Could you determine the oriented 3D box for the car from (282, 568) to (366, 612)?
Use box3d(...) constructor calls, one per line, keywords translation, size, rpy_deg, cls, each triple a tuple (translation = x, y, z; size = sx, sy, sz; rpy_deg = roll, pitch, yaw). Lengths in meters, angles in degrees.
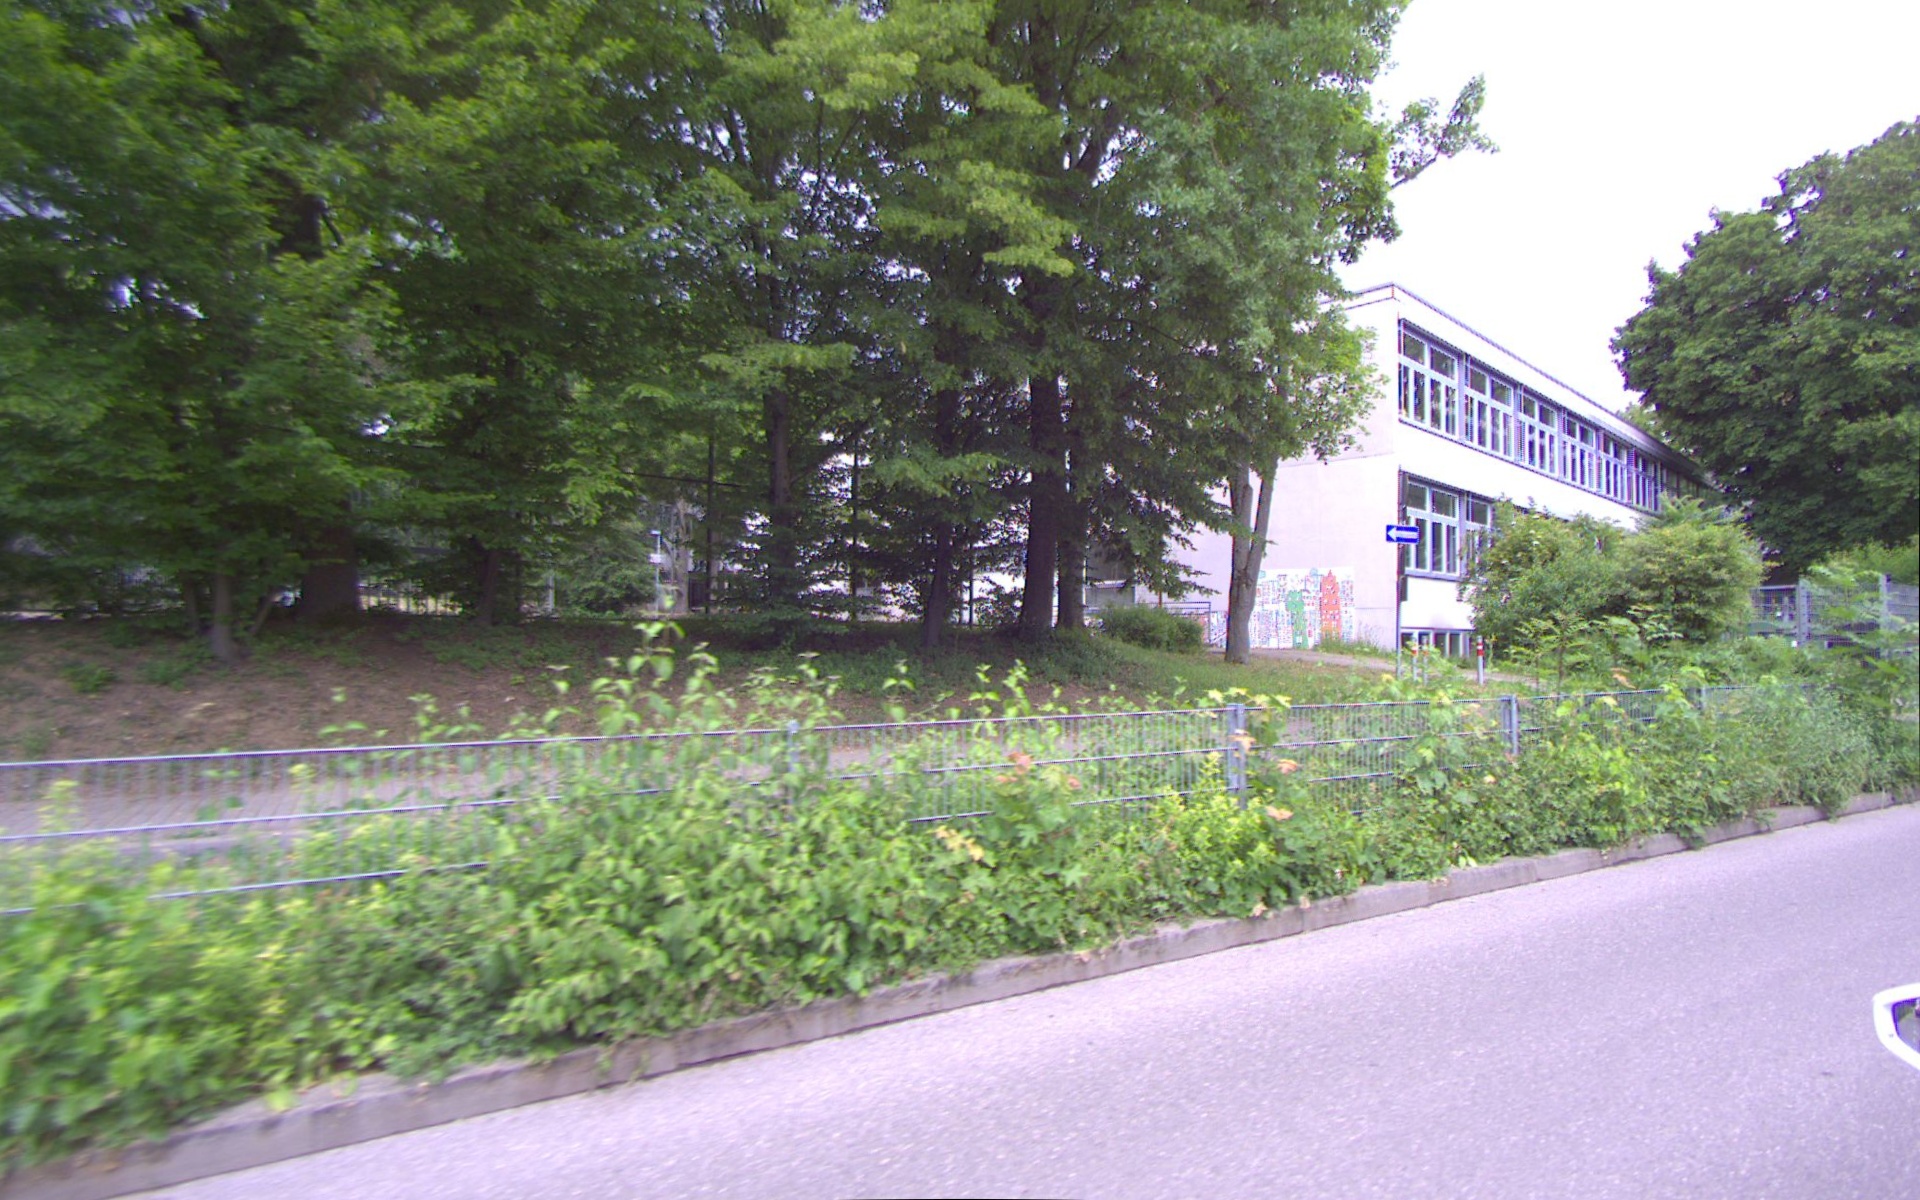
box3d(translation=(-27.451, -0.394, 43.291), size=(4.385, 1.716, 1.964), rpy_deg=(-2, -2, 42), cls="car")
